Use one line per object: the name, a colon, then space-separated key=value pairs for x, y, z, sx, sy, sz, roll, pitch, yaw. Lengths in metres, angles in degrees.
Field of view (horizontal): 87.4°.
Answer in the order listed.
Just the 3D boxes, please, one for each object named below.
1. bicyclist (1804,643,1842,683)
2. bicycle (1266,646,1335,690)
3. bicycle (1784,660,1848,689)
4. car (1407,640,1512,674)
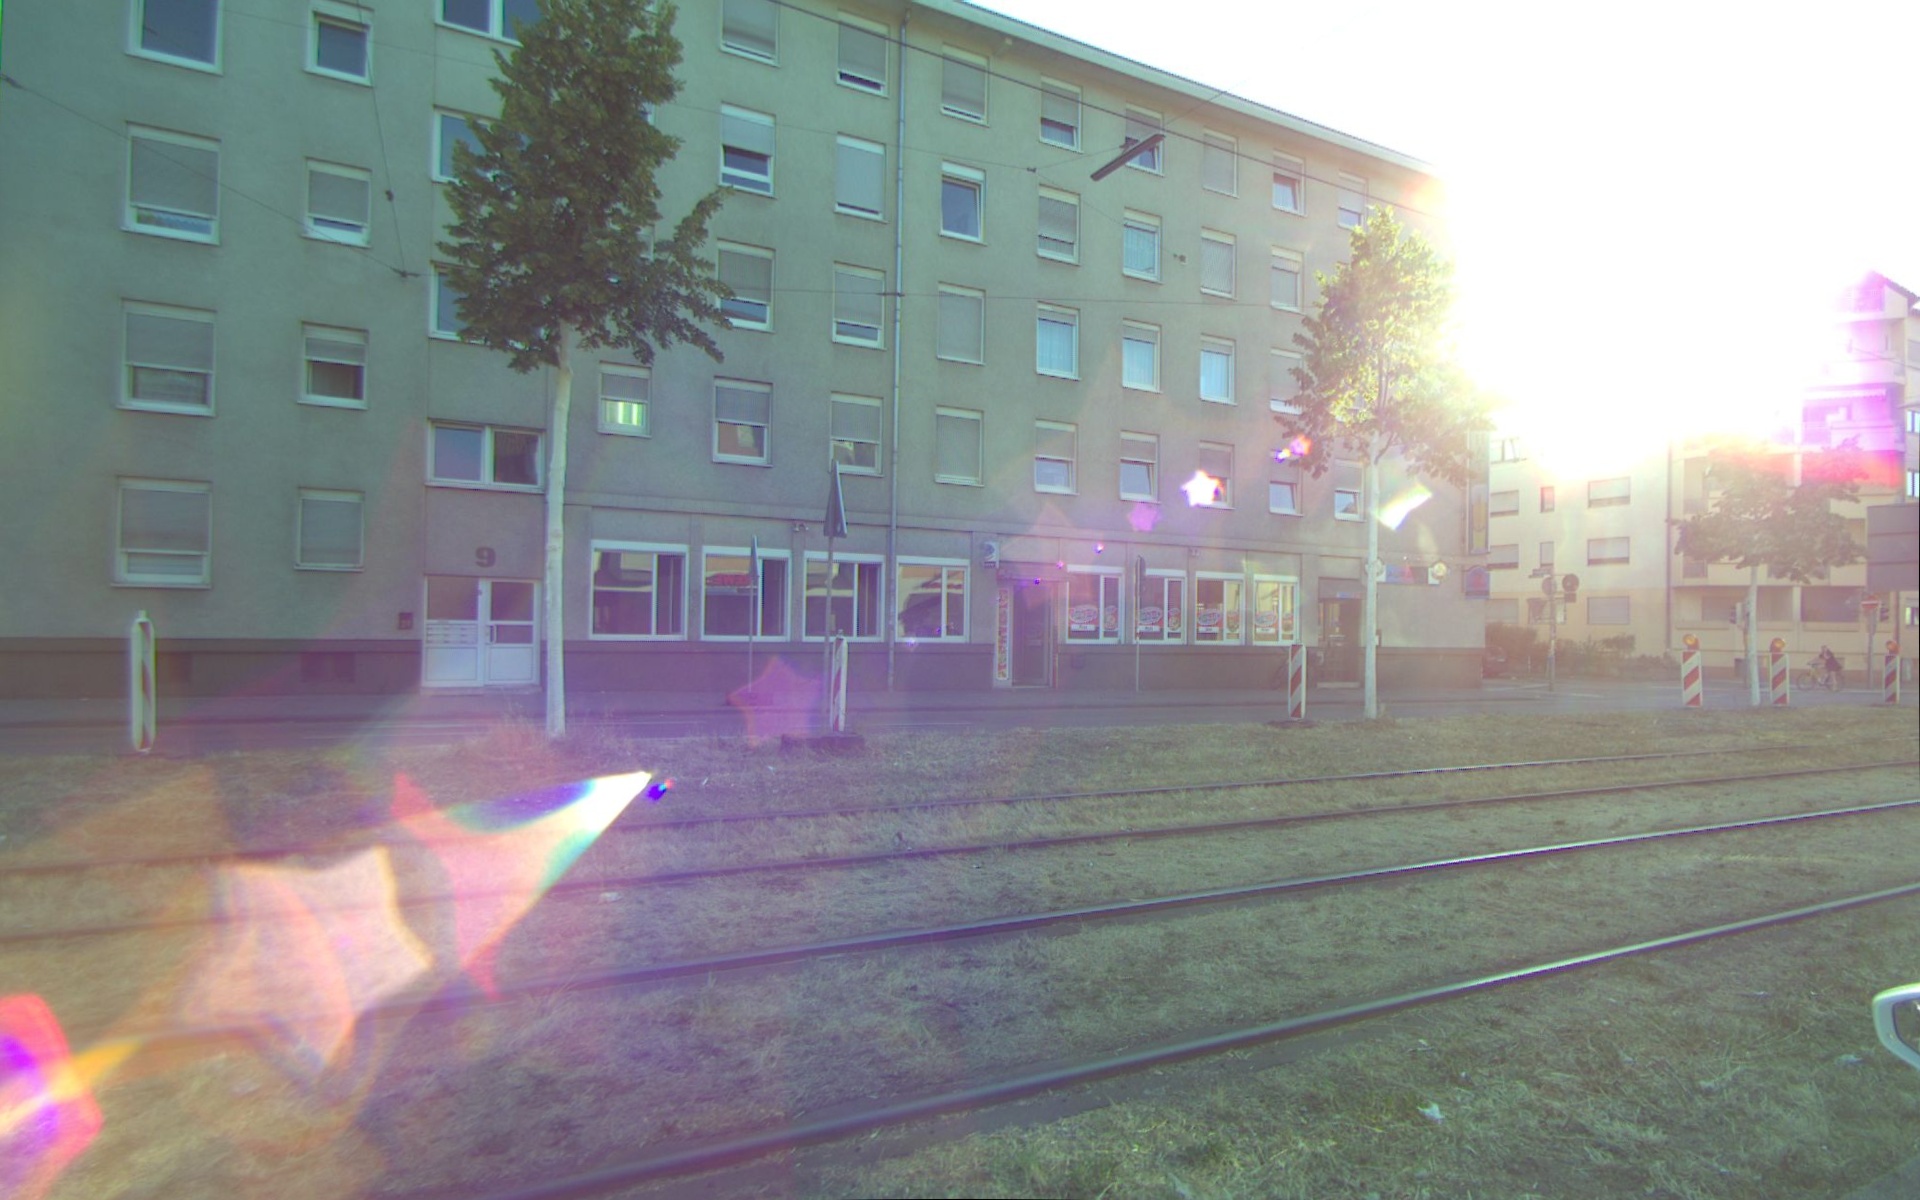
bicyclist: x=31.815 y=2.315 z=37.036 sx=0.946 sy=1.466 sz=0.529 roll=1 pitch=-2 yaw=4
bicycle: x=9.064 y=1.806 z=26.727 sx=1.755 sy=1.129 sz=0.744 roll=2 pitch=-2 yaw=-27
bicycle: x=31.571 y=2.752 z=37.048 sx=1.845 sy=0.997 sz=0.529 roll=1 pitch=-2 yaw=4
car: x=22.718 y=2.571 z=45.789 sx=1.773 sy=1.458 sz=3.931 roll=2 pitch=-3 yaw=-36
